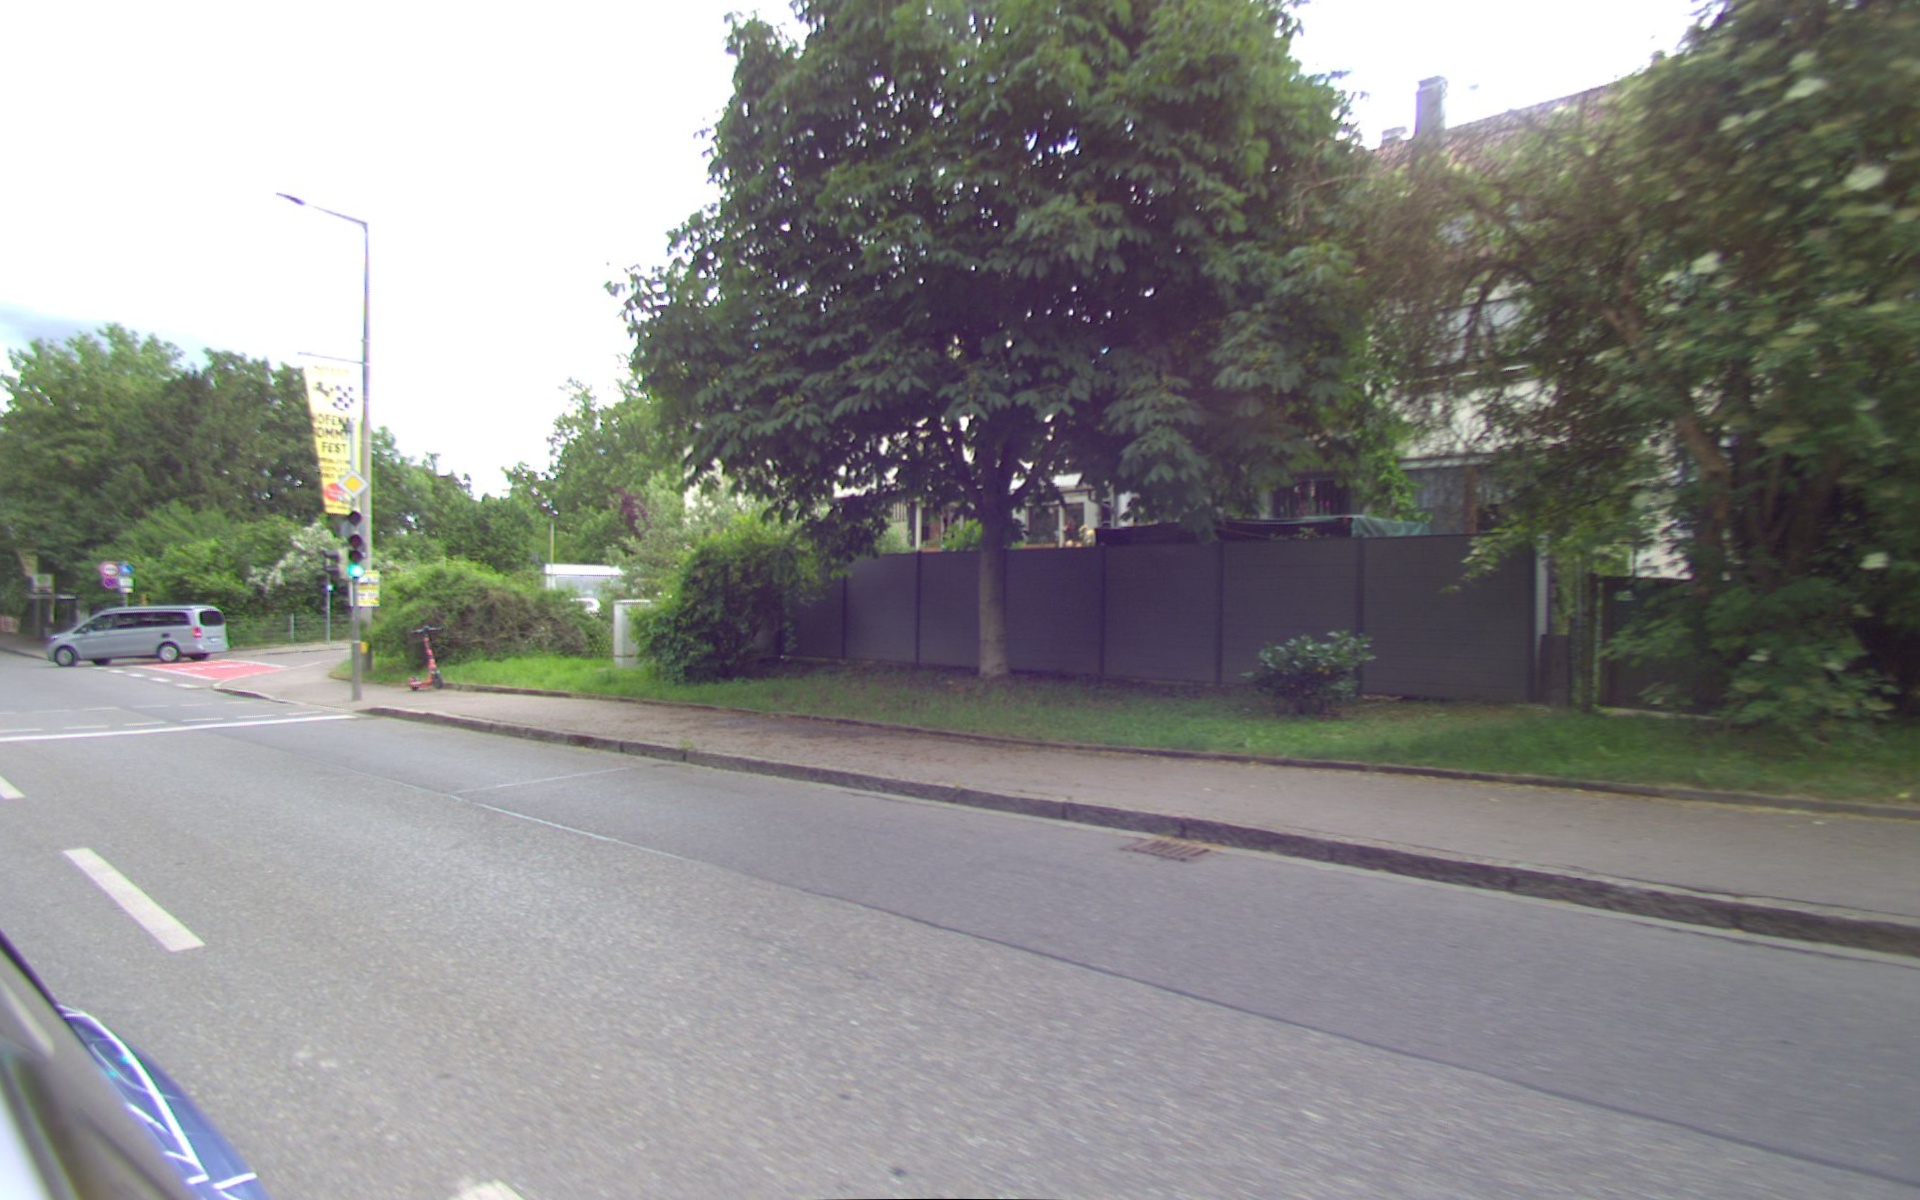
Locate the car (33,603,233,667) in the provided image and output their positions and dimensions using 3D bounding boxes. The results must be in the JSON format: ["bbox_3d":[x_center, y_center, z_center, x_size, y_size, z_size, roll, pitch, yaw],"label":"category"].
[{"bbox_3d":[-28.468,1.176,35.003,5.074,1.942,1.956,-2,0,-8],"label":"car"}]

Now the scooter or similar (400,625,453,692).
[{"bbox_3d":[-10.631,1.148,20.147,1.426,1.268,0.457,-1,0,42],"label":"scooter or similar"}]
